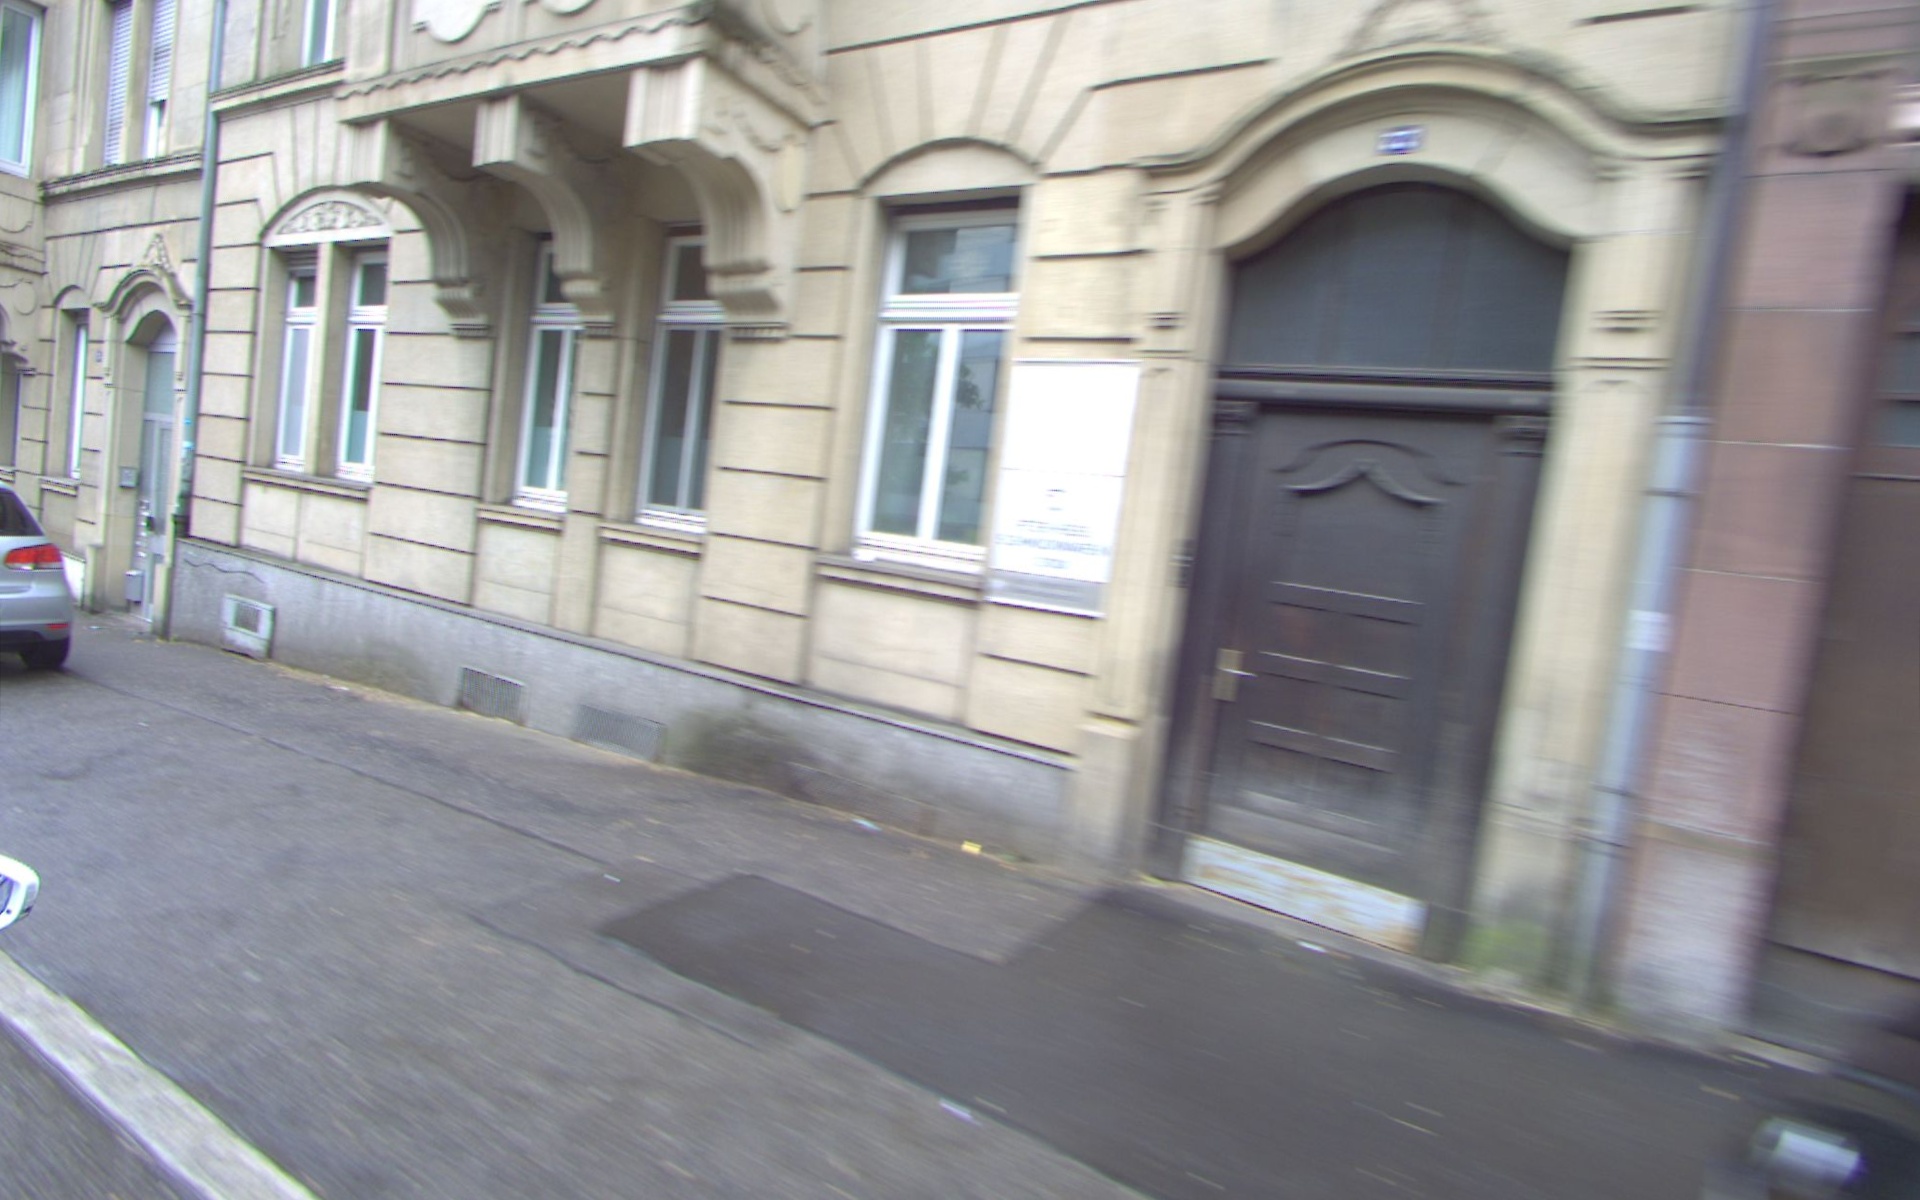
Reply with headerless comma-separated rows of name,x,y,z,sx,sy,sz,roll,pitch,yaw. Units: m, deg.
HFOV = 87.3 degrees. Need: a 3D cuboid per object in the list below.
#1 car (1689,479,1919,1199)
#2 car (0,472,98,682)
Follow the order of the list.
car,3.016,0.863,0.509,4.031,1.675,1.757,7,5,33
car,-8.588,-0.331,7.821,3.934,1.473,1.758,6,5,32
